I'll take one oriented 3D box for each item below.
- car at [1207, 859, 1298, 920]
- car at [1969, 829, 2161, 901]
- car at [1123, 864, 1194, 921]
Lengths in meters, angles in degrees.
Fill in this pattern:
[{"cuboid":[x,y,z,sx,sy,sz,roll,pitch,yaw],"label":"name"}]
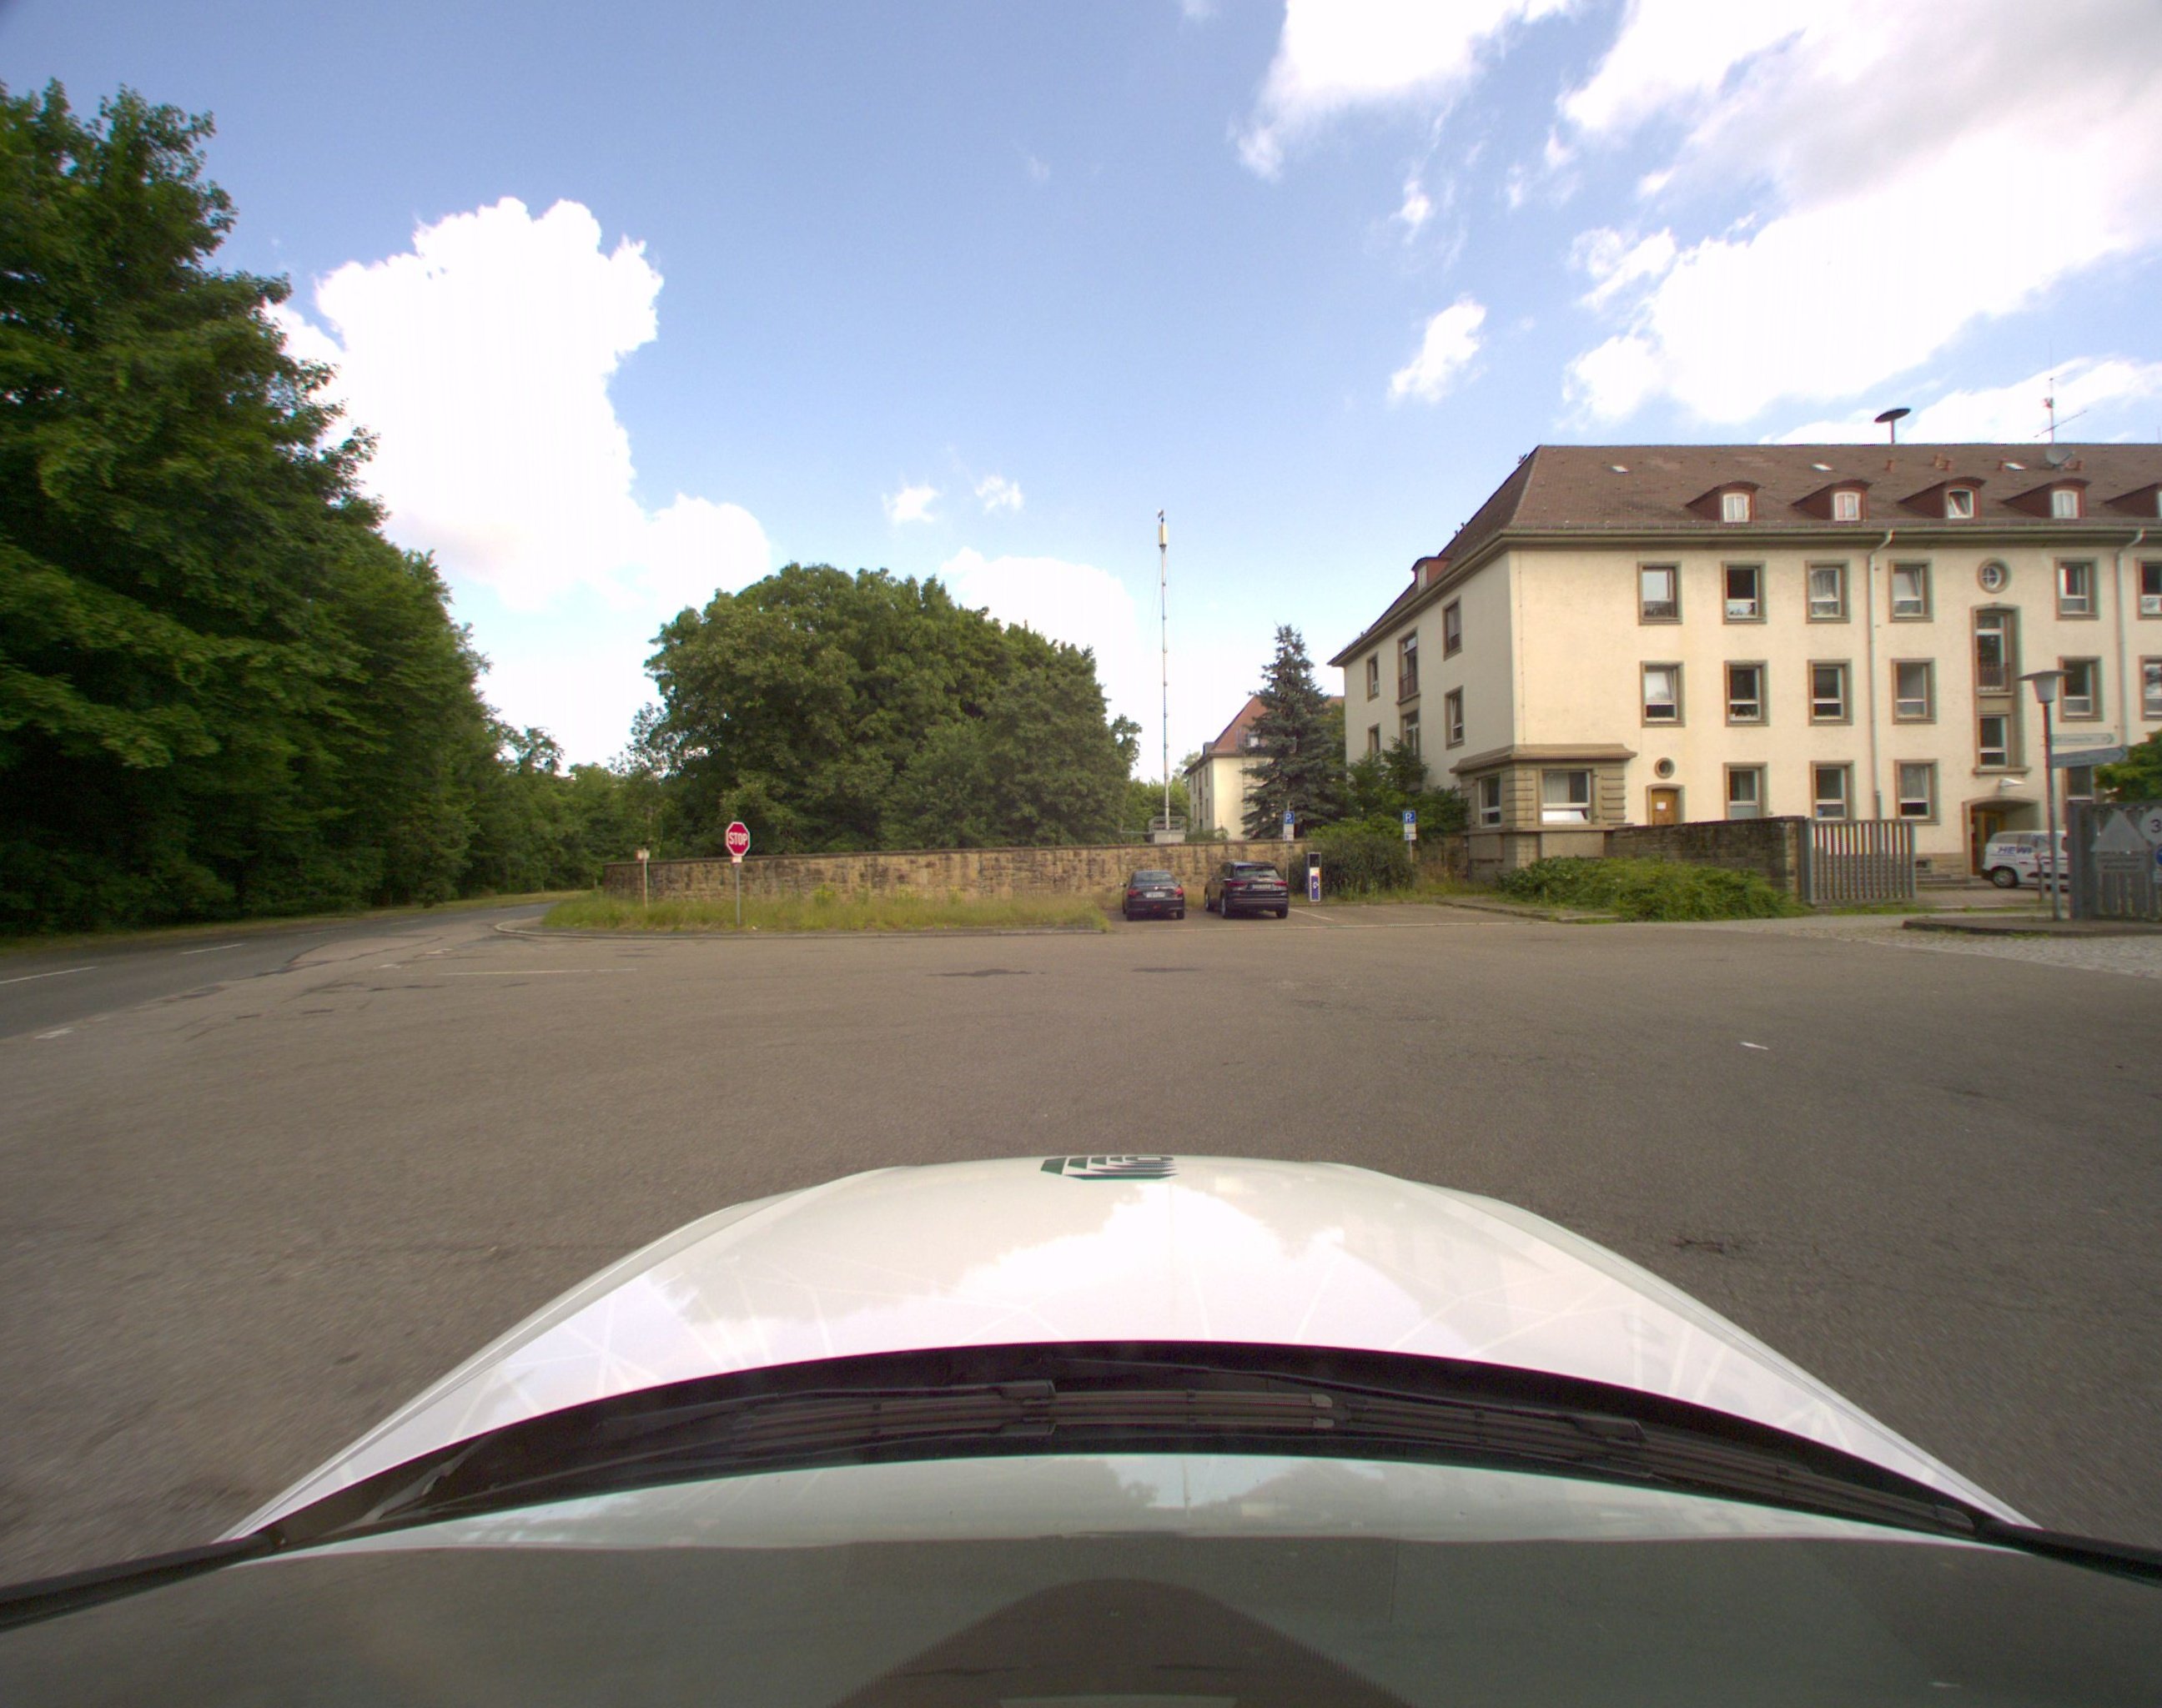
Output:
[{"cuboid":[4.928,0.971,23.906,1.887,1.546,4.002,-1,0,1],"label":"car"},{"cuboid":[28.869,0.220,23.334,1.849,1.750,4.445,-1,3,-4],"label":"car"},{"cuboid":[2.230,1.073,24.431,1.866,1.441,4.002,-1,0,2],"label":"car"}]
